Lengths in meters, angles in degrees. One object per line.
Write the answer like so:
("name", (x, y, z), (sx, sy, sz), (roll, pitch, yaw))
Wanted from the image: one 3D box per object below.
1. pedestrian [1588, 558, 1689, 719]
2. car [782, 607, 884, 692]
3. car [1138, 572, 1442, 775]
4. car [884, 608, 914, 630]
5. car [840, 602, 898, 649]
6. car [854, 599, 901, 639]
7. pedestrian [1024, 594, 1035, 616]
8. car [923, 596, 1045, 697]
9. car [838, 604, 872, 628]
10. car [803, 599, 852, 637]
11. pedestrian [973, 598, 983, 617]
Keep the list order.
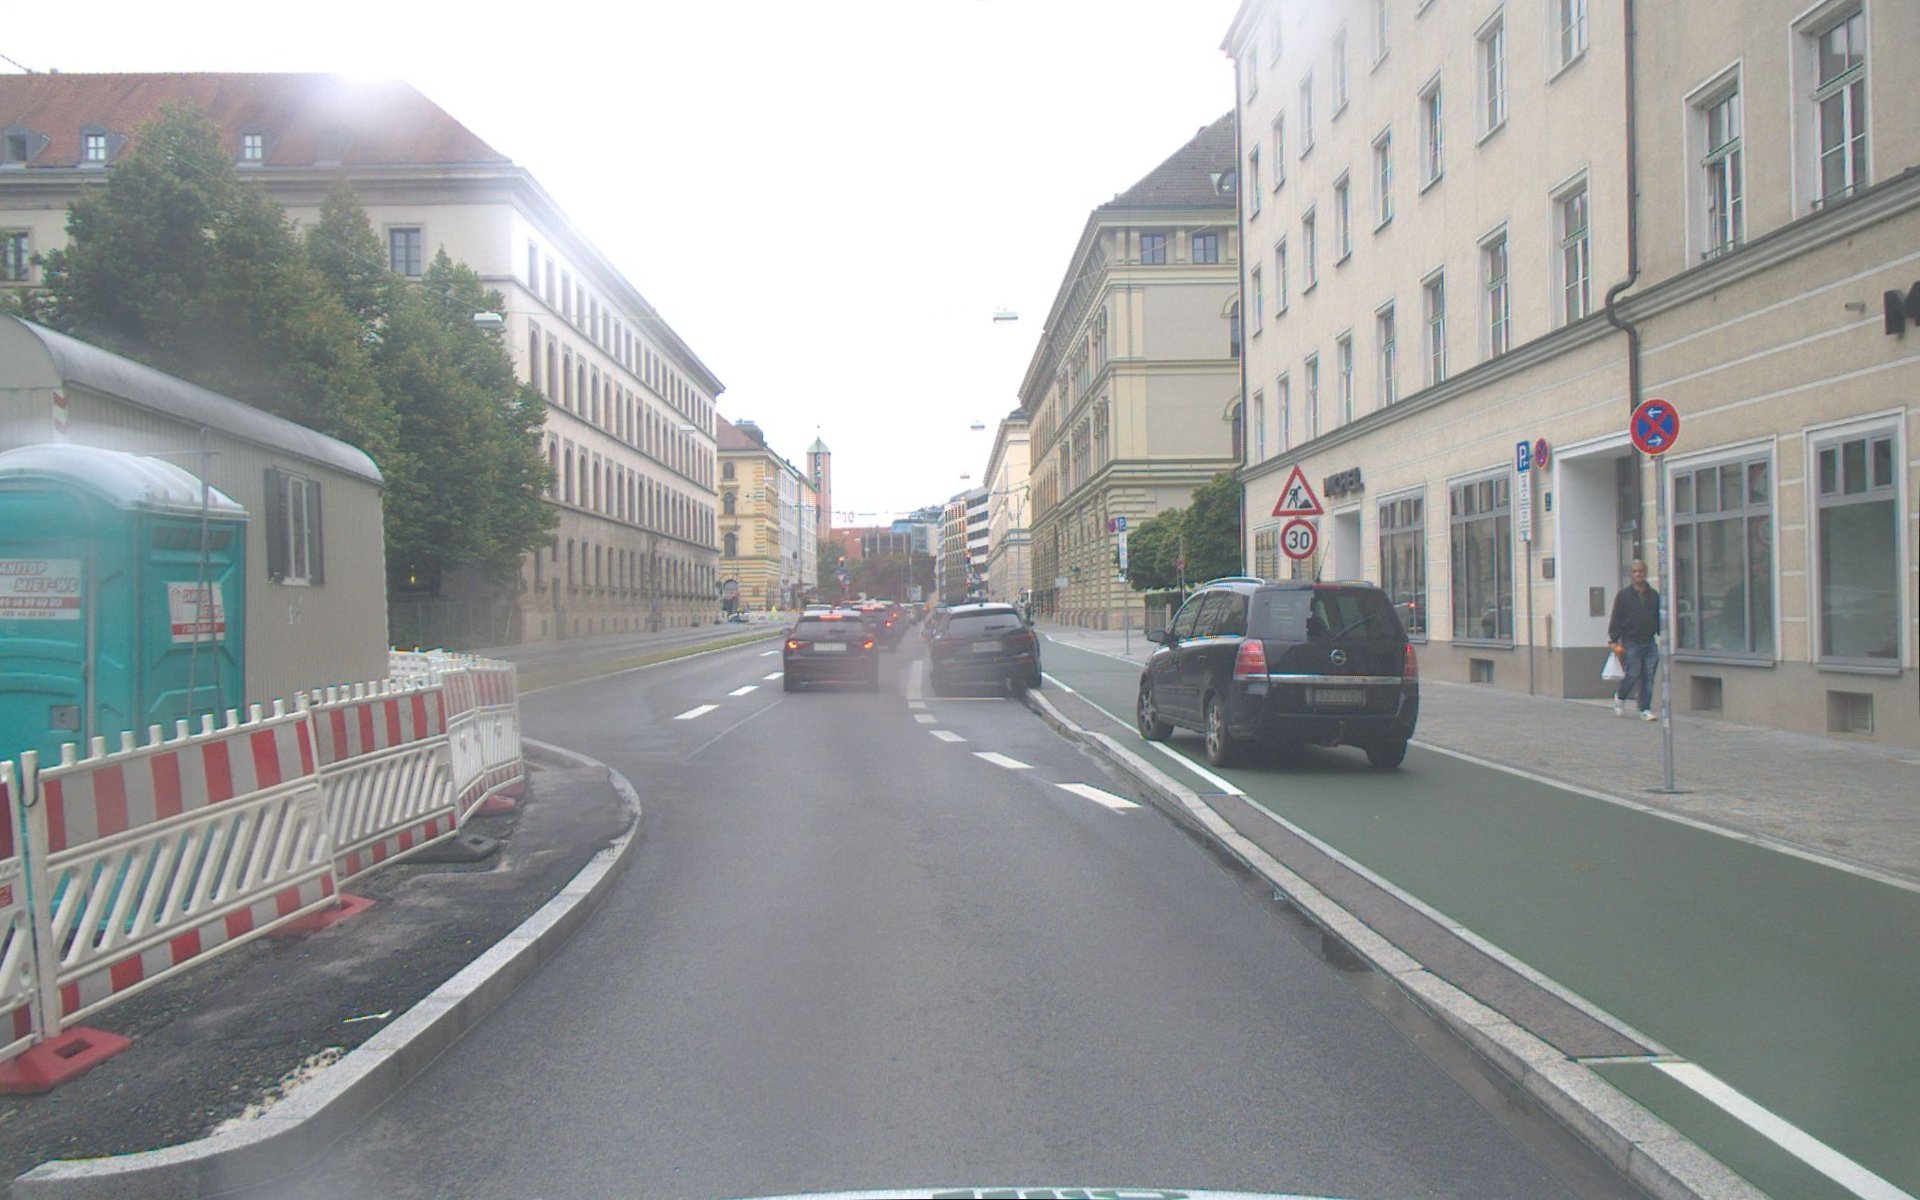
("pedestrian", (7.741, 0.432, 18.902), (0.777, 1.776, 0.833), (-1, 0, -1))
("car", (-2.266, 0.854, 30.335), (1.695, 1.427, 3.998), (0, 0, -2))
("car", (2.916, 0.594, 15.499), (1.730, 1.644, 4.025), (0, 0, -5))
("car", (-4.257, 1.325, 116.156), (1.953, 1.469, 3.999), (-1, 0, -1))
("car", (-2.910, 0.803, 53.403), (1.695, 1.427, 3.999), (0, 0, -1))
("car", (-3.235, 0.726, 65.187), (1.695, 1.486, 3.999), (0, 0, -1))
("pedestrian", (5.261, 0.387, 125.227), (0.695, 1.646, 0.754), (-1, 0, -2))
("car", (0.347, 0.761, 29.231), (1.773, 1.506, 4.460), (-5, 0, -3))
("car", (-6.671, 0.996, 105.583), (1.953, 1.469, 3.999), (-1, 0, -1))
("car", (-6.032, 0.805, 75.817), (1.953, 1.656, 3.999), (-1, 0, -1))
("pedestrian", (1.599, 0.684, 145.255), (0.736, 1.646, 0.713), (-1, 0, 7))
